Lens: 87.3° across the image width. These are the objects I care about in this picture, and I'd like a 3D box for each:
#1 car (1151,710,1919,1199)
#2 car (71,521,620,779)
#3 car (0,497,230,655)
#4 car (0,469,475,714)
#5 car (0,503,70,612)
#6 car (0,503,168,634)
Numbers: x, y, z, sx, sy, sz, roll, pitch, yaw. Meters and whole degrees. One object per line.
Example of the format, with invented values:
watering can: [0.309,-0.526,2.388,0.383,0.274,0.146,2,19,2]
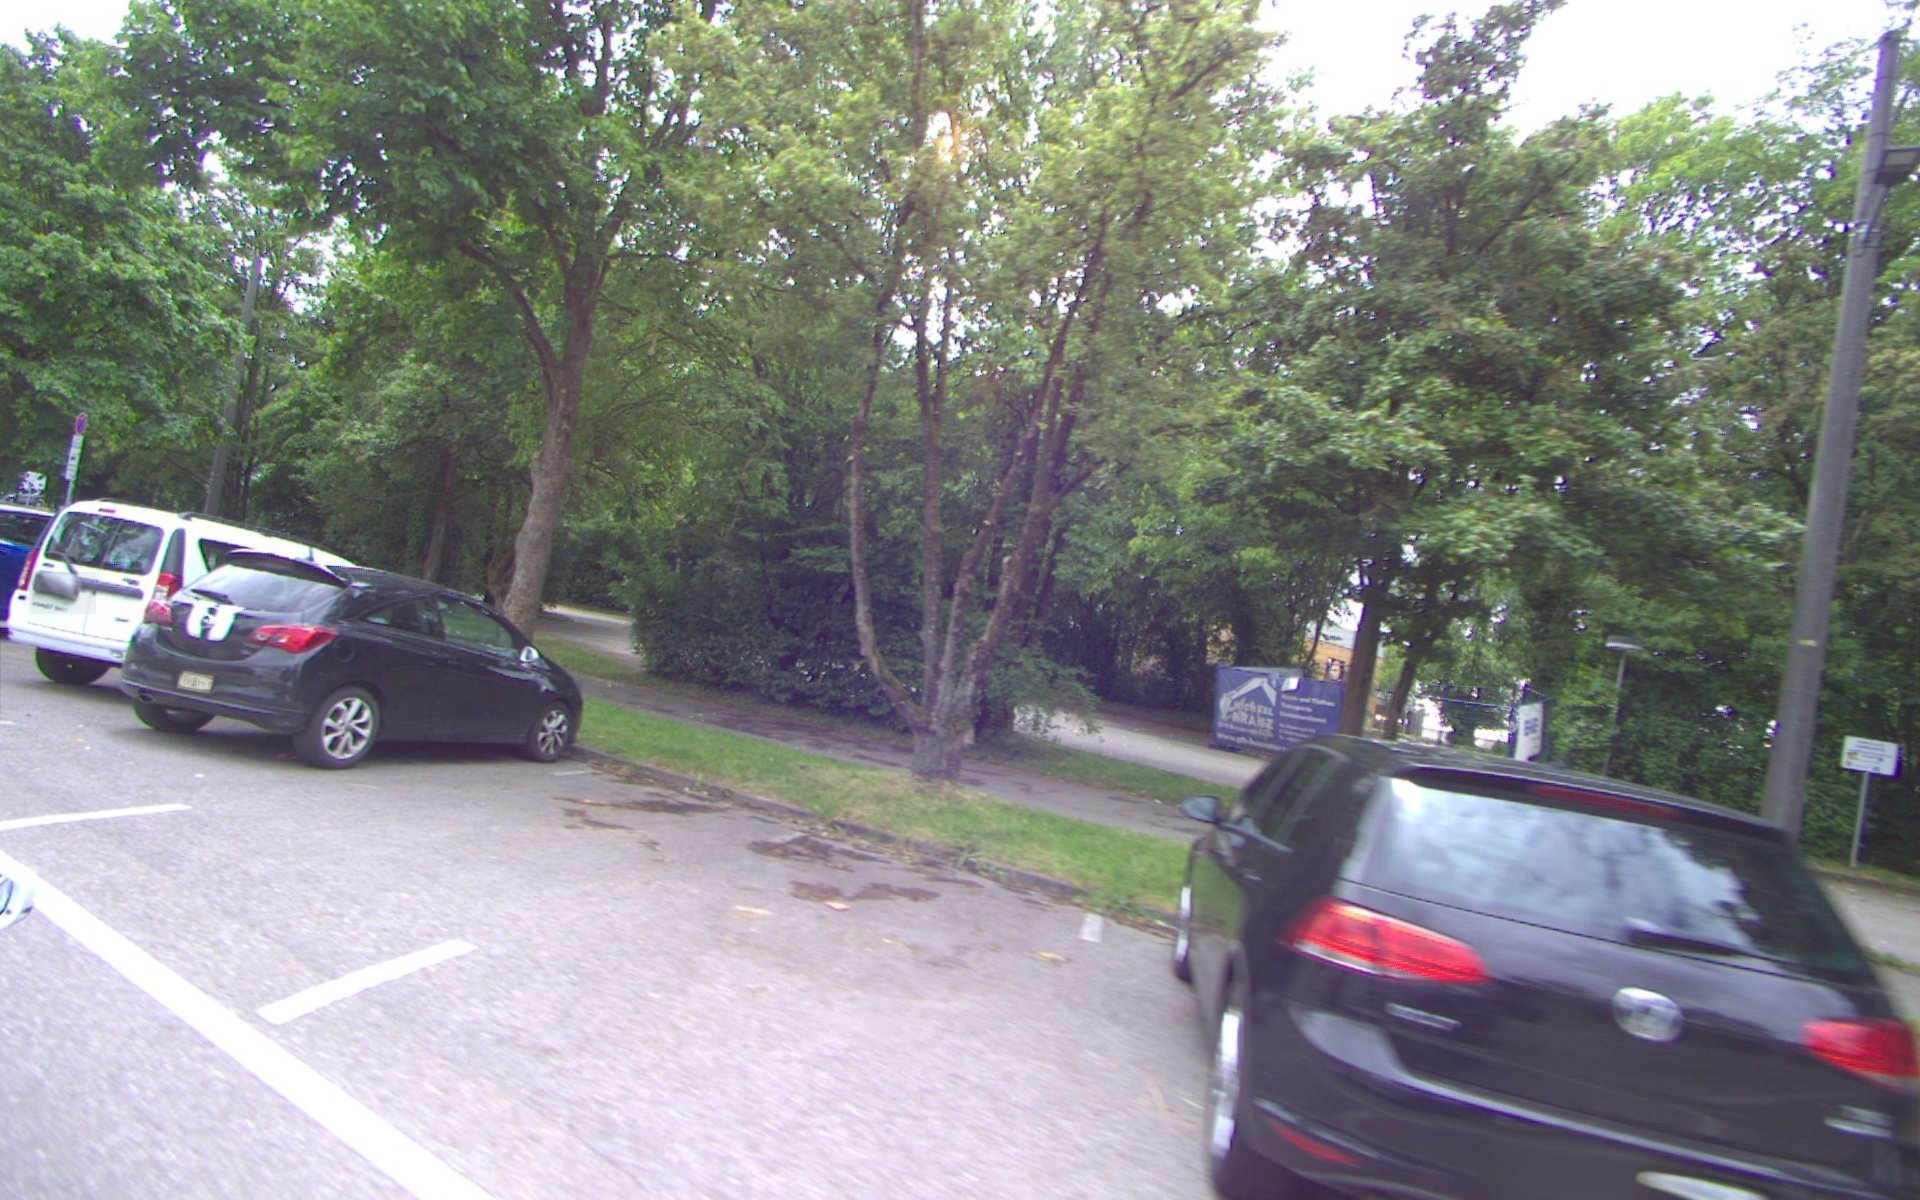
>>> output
car: [1.974,1.359,4.170,2.018,1.427,4.013,8,-5,10]
car: [-4.858,0.554,8.728,1.713,1.482,3.843,9,-5,12]
car: [-11.381,-0.377,12.122,1.713,1.543,3.843,8,-5,12]
car: [-7.124,0.105,10.151,1.842,1.736,3.843,8,-5,12]
car: [-15.610,-0.936,14.417,1.713,1.543,3.843,8,-5,12]
car: [-13.647,-0.604,13.919,1.713,1.543,3.843,8,-5,12]
